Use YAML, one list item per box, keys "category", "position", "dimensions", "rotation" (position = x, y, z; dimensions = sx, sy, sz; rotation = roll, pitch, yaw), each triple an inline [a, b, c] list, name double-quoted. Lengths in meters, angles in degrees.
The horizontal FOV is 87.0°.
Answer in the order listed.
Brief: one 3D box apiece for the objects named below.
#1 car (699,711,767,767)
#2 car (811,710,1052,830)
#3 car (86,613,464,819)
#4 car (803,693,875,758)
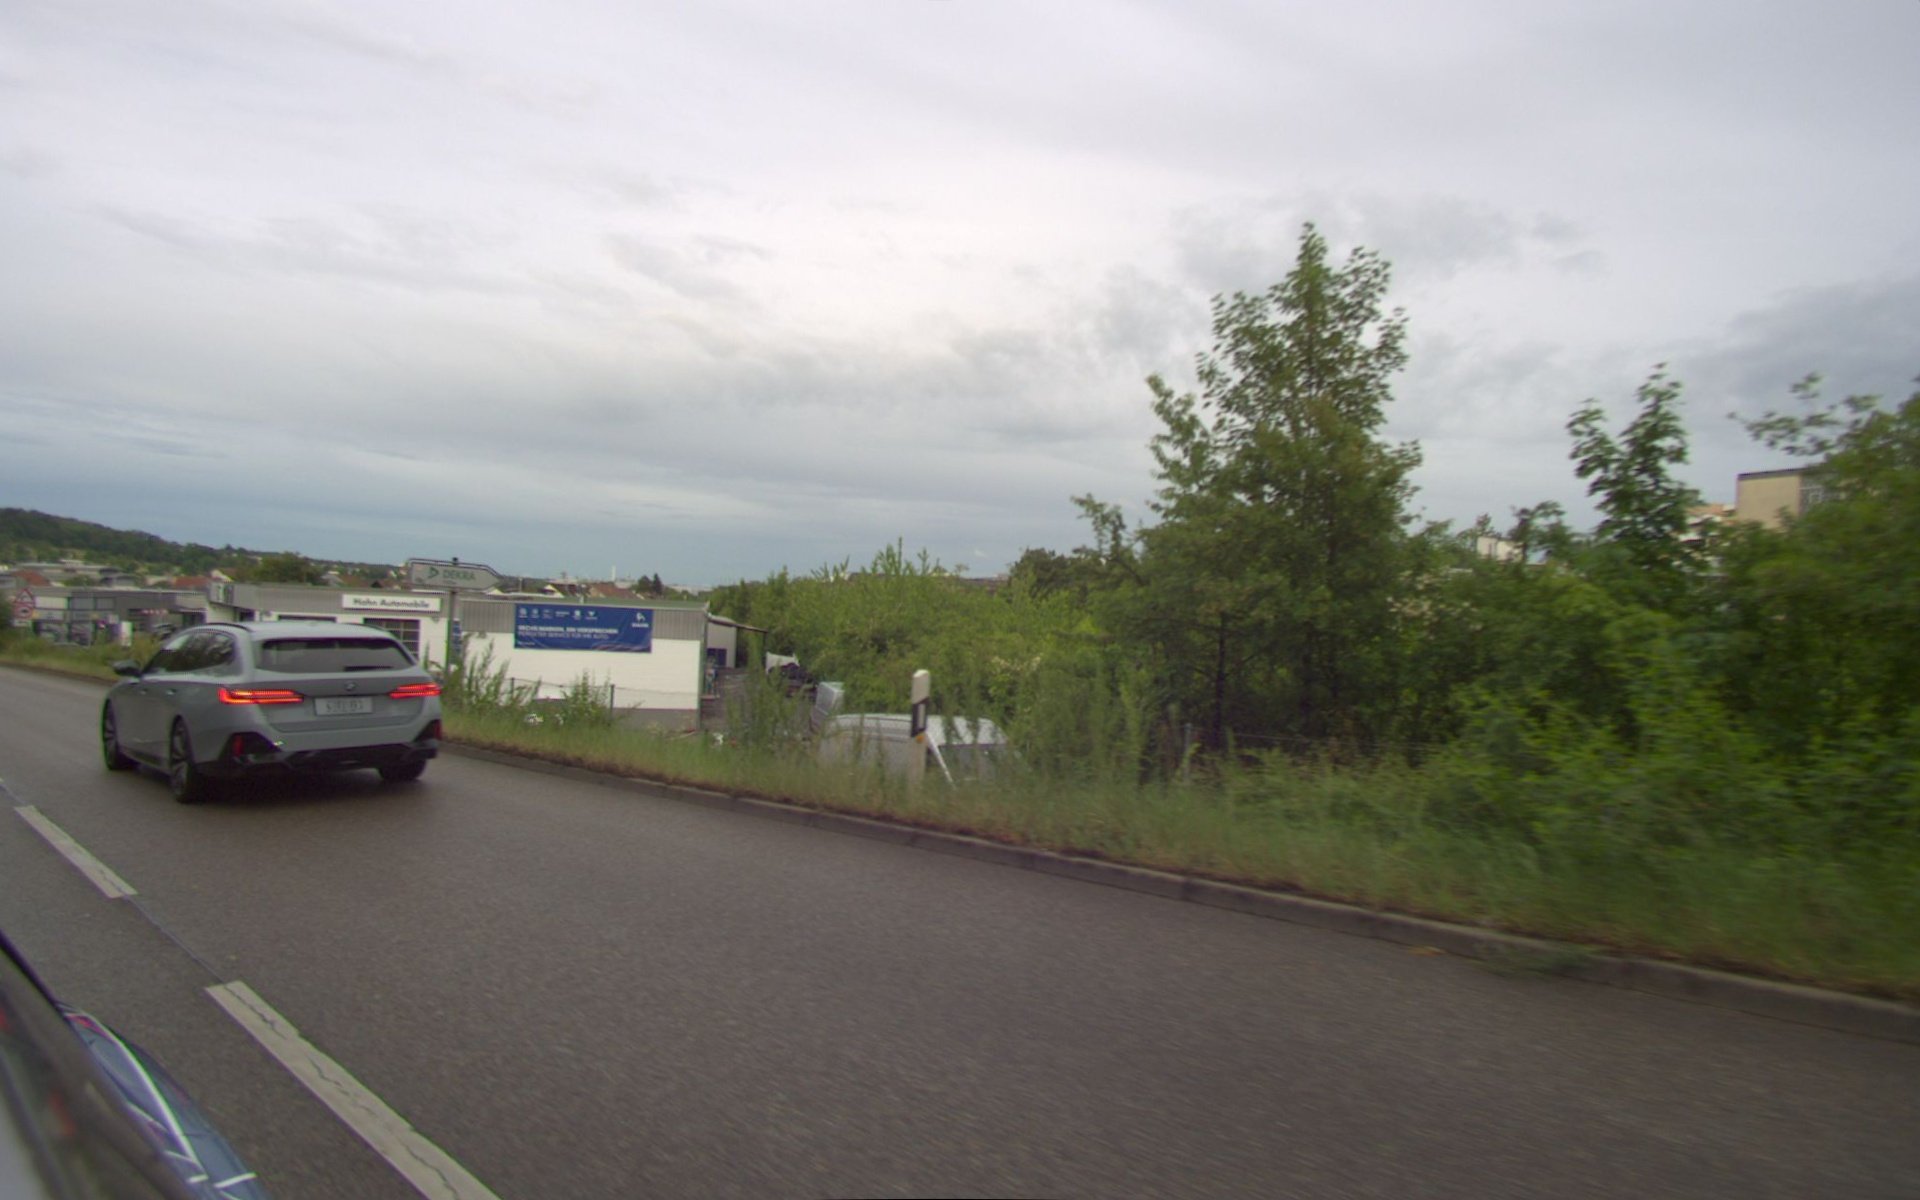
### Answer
- category: "car"
  position: [-8.214, 4.934, 36.322]
  dimensions: [1.836, 1.705, 4.655]
  rotation: [5, -7, -17]
- category: "car"
  position: [-0.688, 2.997, 18.524]
  dimensions: [1.957, 1.704, 4.939]
  rotation: [8, -8, -34]
- category: "car"
  position: [-6.730, 0.921, 9.719]
  dimensions: [4.725, 1.515, 1.842]
  rotation: [-2, -2, 41]
- category: "car"
  position: [-5.658, 5.660, 46.425]
  dimensions: [1.951, 2.480, 6.615]
  rotation: [5, -5, -17]
